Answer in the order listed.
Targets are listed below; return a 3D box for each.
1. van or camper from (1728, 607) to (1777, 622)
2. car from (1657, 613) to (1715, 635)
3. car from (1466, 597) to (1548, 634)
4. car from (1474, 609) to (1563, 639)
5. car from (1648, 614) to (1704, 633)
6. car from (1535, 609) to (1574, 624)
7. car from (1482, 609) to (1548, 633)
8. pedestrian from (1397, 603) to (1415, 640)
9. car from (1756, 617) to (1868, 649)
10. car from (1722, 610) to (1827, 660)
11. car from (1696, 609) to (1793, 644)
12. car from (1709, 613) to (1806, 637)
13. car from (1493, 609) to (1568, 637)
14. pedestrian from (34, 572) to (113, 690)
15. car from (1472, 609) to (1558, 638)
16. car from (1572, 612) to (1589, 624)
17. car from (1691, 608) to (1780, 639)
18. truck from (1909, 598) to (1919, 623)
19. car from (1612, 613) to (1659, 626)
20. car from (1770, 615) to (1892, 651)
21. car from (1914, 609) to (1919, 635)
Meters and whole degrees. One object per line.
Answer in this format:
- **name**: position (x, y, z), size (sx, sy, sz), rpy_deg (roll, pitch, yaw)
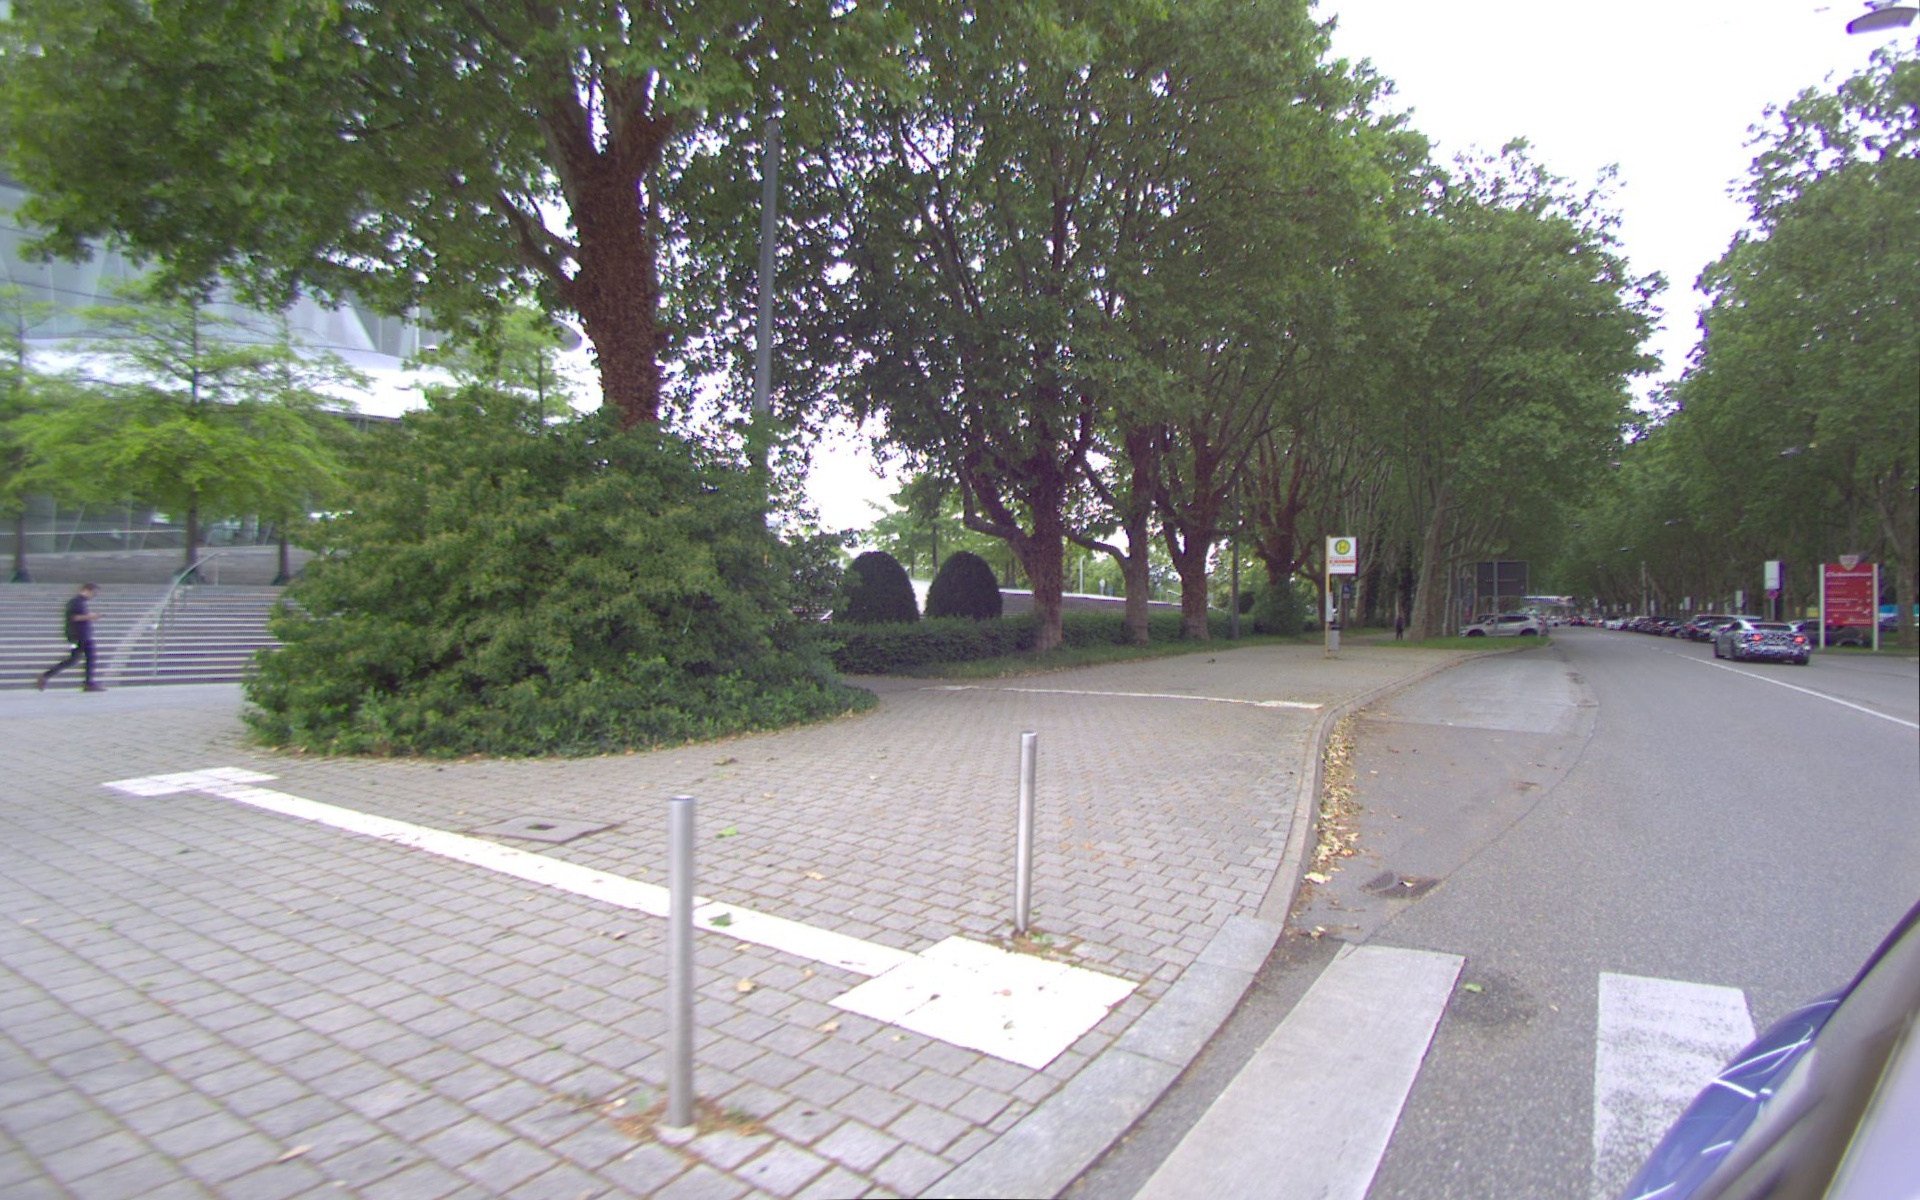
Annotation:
- **van or camper**: position (115.059, 2.102, 146.934), size (5.253, 2.126, 2.222), rpy_deg (-1, -1, 29)
- **car**: position (62.758, 2.036, 87.545), size (3.910, 1.730, 1.733), rpy_deg (2, 0, 30)
- **car**: position (31.093, 0.909, 57.528), size (3.967, 2.040, 1.977), rpy_deg (-2, -2, 32)
- **car**: position (31.659, 1.381, 57.378), size (4.325, 1.655, 1.904), rpy_deg (-2, -2, 32)
- **car**: position (63.506, 2.107, 89.839), size (3.914, 1.535, 1.708), rpy_deg (2, 0, 33)
- **car**: position (78.560, 2.185, 133.733), size (3.924, 2.039, 1.999), rpy_deg (0, -1, 0)
- **car**: position (42.091, 1.630, 76.844), size (4.321, 1.768, 1.817), rpy_deg (-2, -2, 29)
- **pedestrian**: position (24.503, 1.165, 55.589), size (0.776, 2.039, 0.596), rpy_deg (-1, -1, 15)
- **car**: position (42.383, 1.616, 50.455), size (3.974, 1.513, 1.812), rpy_deg (-1, -1, 31)
- **car**: position (27.071, 1.134, 33.818), size (1.890, 1.471, 4.765), rpy_deg (2, 0, 29)
- **car**: position (46.594, 1.567, 60.228), size (4.297, 1.833, 1.846), rpy_deg (2, 0, 31)
- **car**: position (46.851, 1.468, 59.596), size (4.164, 1.371, 1.947), rpy_deg (-1, -1, 29)
- **car**: position (38.183, 1.518, 67.869), size (4.322, 1.783, 1.905), rpy_deg (0, -1, 30)
- **pedestrian**: position (-14.154, 0.492, 16.175), size (0.702, 1.845, 0.623), rpy_deg (-1, -1, 0)
- **car**: position (32.762, 1.386, 59.742), size (4.325, 1.626, 1.904), rpy_deg (-2, -2, 32)
- **car**: position (86.317, 2.474, 140.840), size (1.831, 1.529, 3.974), rpy_deg (-1, -1, 29)
- **car**: position (50.466, 1.521, 65.944), size (4.291, 1.833, 1.849), rpy_deg (2, 0, 28)
- **truck**: position (108.165, 1.137, 112.011), size (3.965, 2.751, 2.352), rpy_deg (-1, -1, 30)
- **car**: position (78.635, 2.259, 117.914), size (4.384, 1.442, 1.757), rpy_deg (2, 0, 30)
- **car**: position (39.760, 1.479, 46.330), size (3.976, 1.560, 1.784), rpy_deg (-1, -1, 33)
- **car**: position (71.480, 1.590, 71.899), size (4.912, 1.820, 2.161), rpy_deg (0, -1, 29)
